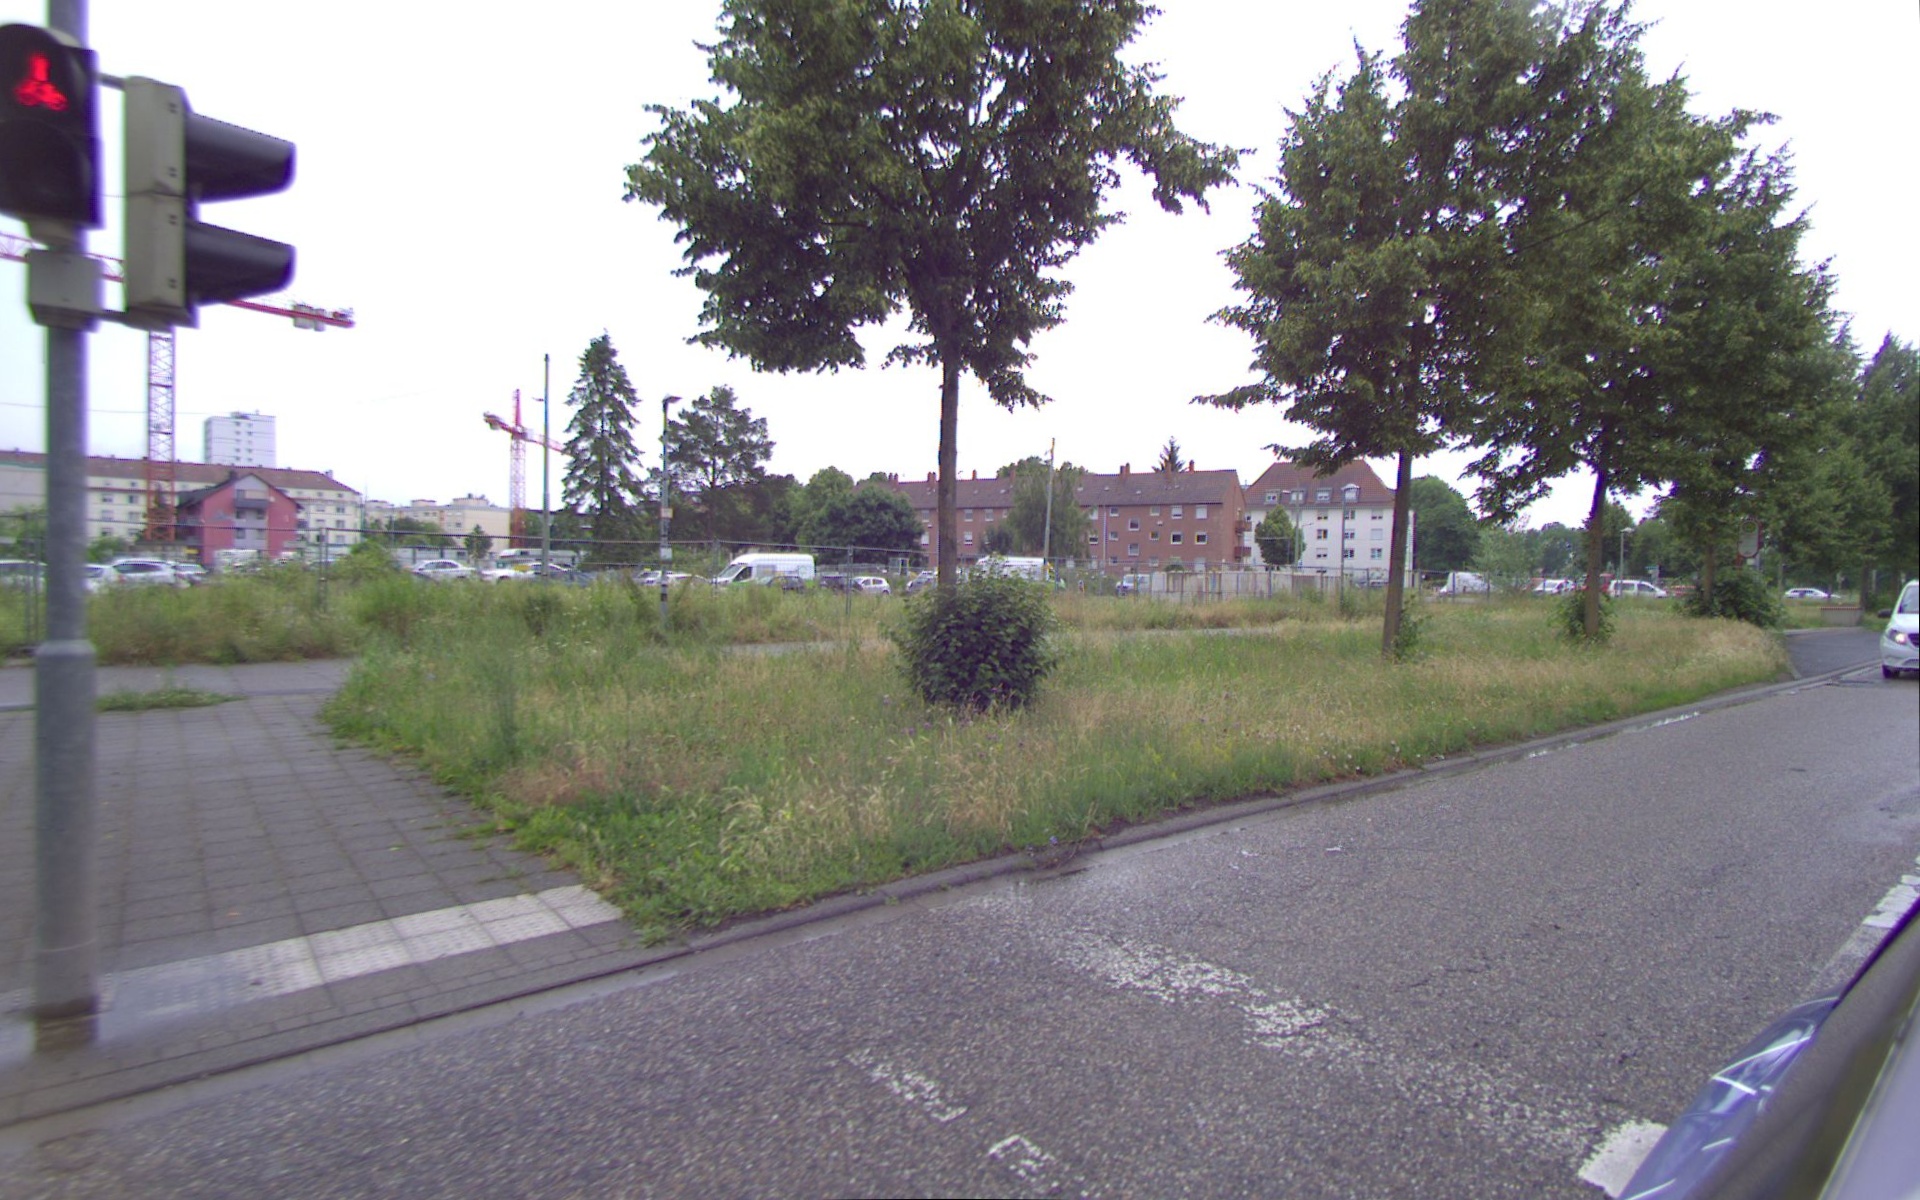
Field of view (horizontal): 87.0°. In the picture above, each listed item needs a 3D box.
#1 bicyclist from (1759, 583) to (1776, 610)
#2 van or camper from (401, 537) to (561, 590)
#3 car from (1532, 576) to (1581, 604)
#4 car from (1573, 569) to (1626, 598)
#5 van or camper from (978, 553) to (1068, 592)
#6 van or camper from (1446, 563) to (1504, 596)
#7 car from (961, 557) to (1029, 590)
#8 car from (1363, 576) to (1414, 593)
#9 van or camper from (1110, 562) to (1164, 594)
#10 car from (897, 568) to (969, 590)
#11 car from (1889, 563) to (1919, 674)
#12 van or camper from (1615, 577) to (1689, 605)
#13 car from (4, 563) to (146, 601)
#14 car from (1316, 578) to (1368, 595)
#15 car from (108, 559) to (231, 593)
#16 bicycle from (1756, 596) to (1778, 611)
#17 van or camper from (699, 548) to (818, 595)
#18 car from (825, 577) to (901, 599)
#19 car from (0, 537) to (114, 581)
[{"bbox_3d":[46.686,-0.224,58.503,0.825,1.524,0.537,0,1,-37],"label":"bicyclist"},{"bbox_3d":[-22.878,-1.683,48.576,6.535,2.336,2.505,0,0,-43],"label":"van or camper"},{"bbox_3d":[51.314,-0.823,87.022,3.921,2.339,2.002,0,0,-32],"label":"car"},{"bbox_3d":[53.072,-1.367,83.942,3.918,2.339,2.003,0,0,-27],"label":"car"},{"bbox_3d":[4.072,-1.724,64.706,6.044,2.336,2.205,0,1,-43],"label":"van or camper"},{"bbox_3d":[49.717,-1.946,97.677,5.399,3.073,2.349,0,0,-29],"label":"van or camper"},{"bbox_3d":[2.516,-1.868,72.080,4.681,2.247,2.274,0,1,-44],"label":"car"},{"bbox_3d":[39.487,-1.415,93.234,3.916,1.572,2.004,0,0,-13],"label":"car"},{"bbox_3d":[14.675,-1.803,83.570,1.913,2.568,5.180,1,1,43],"label":"van or camper"},{"bbox_3d":[-1.762,-1.388,68.003,4.681,1.369,2.092,0,1,-44],"label":"car"},{"bbox_3d":[19.587,0.318,19.457,5.002,2.004,1.971,-1,2,-41],"label":"car"},{"bbox_3d":[51.505,-0.684,75.375,4.322,2.039,1.831,1,1,44],"label":"van or camper"},{"bbox_3d":[-33.358,-0.664,38.288,3.960,1.369,1.700,0,1,-39],"label":"car"},{"bbox_3d":[34.819,-1.228,92.315,3.916,1.471,2.004,0,0,-13],"label":"car"},{"bbox_3d":[-32.891,-0.989,42.185,3.960,1.369,1.700,0,2,-39],"label":"car"},{"bbox_3d":[46.675,0.200,58.517,1.713,0.889,0.548,0,1,-37],"label":"bicycle"},{"bbox_3d":[-11.642,-1.582,58.843,6.310,2.567,2.780,0,1,-43],"label":"van or camper"},{"bbox_3d":[-6.063,-0.746,63.753,4.681,1.369,1.844,0,1,-44],"label":"car"},{"bbox_3d":[-41.763,-1.851,45.898,5.120,1.918,2.164,0,2,-44],"label":"car"}]
